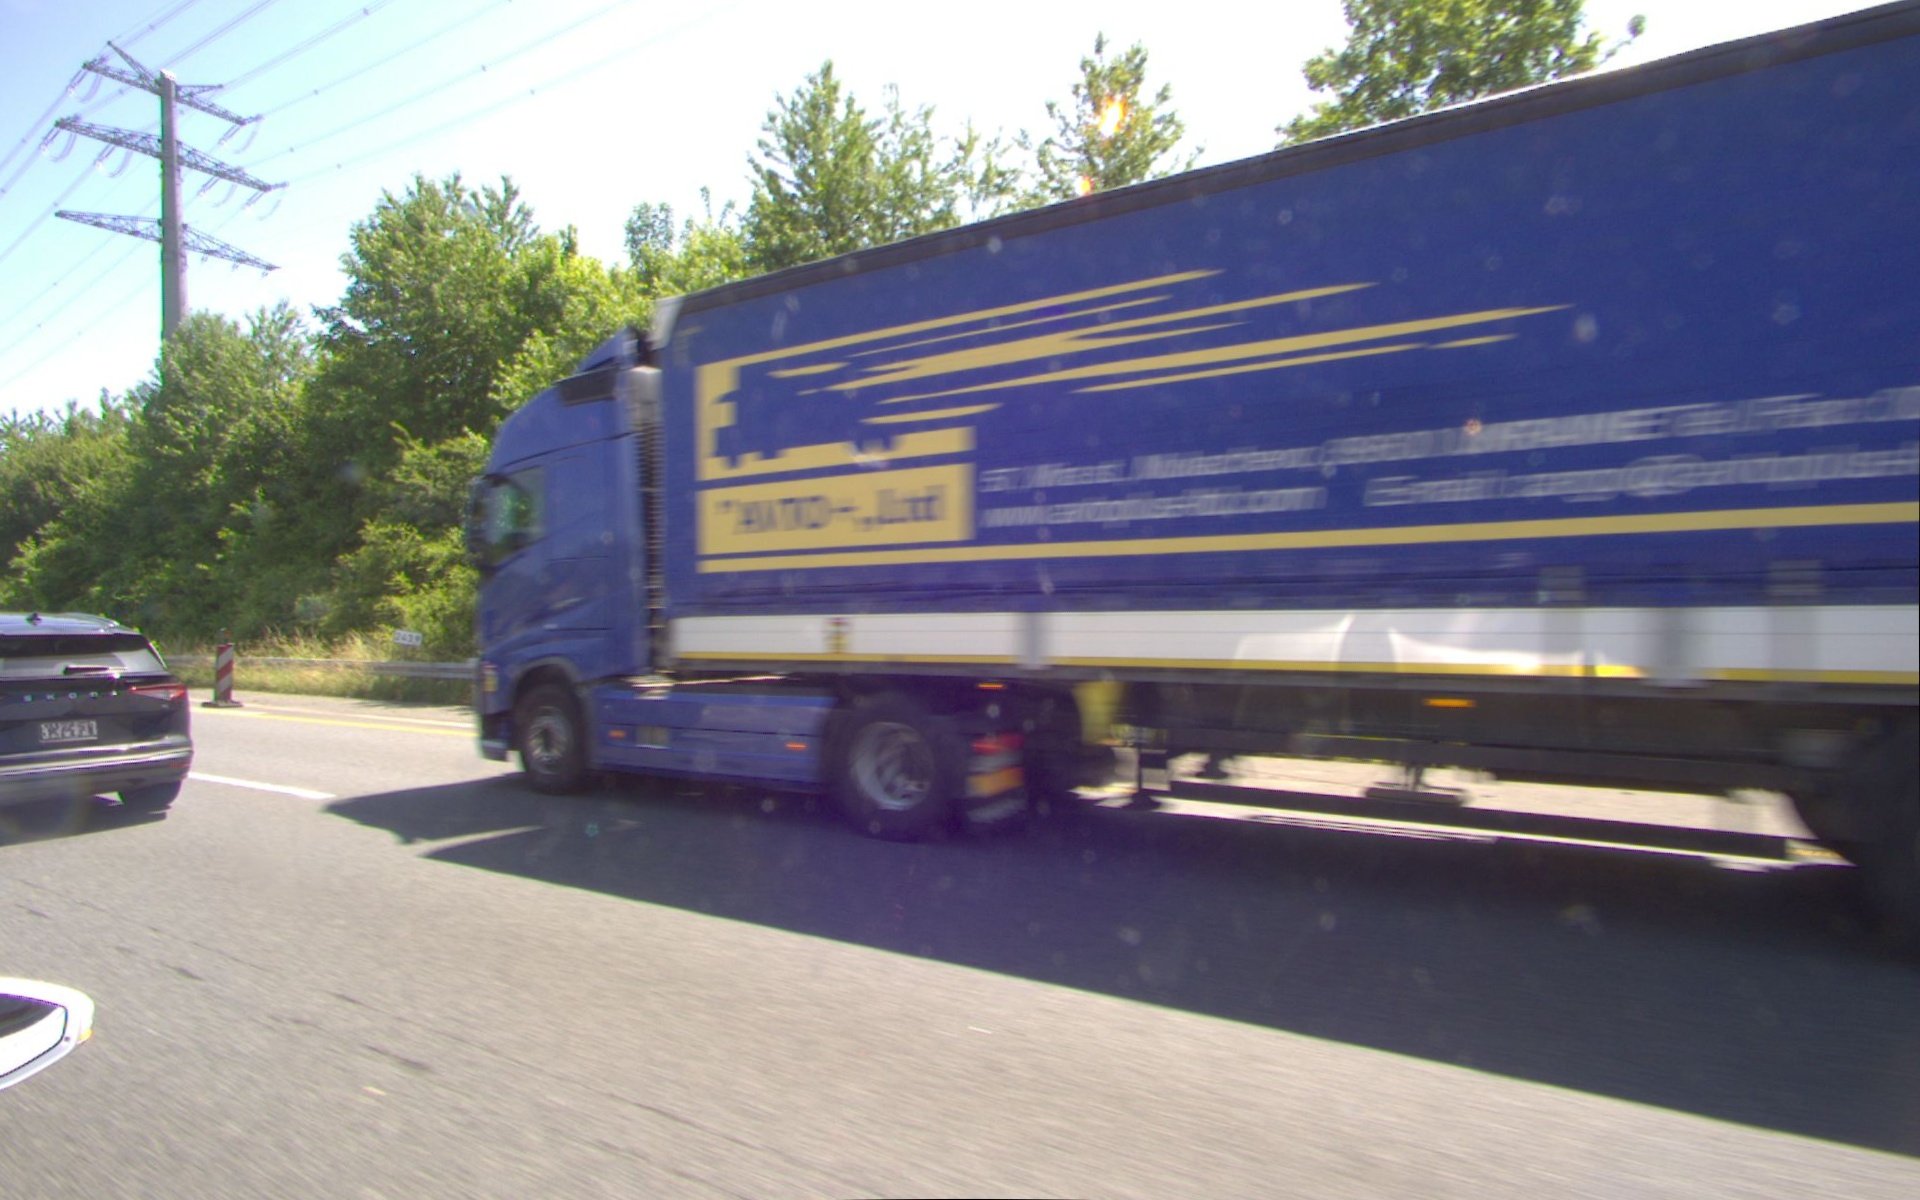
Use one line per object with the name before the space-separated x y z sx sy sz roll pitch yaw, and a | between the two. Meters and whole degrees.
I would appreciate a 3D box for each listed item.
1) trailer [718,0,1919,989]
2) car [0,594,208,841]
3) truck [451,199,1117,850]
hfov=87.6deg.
trailer | 4.284 -0.563 5.359 12.693 4.318 2.763 -1 -2 32
car | -8.199 0.846 8.227 4.364 1.676 1.699 -1 -2 31
truck | -1.687 -0.407 9.113 5.556 4.197 2.781 -1 -2 32
